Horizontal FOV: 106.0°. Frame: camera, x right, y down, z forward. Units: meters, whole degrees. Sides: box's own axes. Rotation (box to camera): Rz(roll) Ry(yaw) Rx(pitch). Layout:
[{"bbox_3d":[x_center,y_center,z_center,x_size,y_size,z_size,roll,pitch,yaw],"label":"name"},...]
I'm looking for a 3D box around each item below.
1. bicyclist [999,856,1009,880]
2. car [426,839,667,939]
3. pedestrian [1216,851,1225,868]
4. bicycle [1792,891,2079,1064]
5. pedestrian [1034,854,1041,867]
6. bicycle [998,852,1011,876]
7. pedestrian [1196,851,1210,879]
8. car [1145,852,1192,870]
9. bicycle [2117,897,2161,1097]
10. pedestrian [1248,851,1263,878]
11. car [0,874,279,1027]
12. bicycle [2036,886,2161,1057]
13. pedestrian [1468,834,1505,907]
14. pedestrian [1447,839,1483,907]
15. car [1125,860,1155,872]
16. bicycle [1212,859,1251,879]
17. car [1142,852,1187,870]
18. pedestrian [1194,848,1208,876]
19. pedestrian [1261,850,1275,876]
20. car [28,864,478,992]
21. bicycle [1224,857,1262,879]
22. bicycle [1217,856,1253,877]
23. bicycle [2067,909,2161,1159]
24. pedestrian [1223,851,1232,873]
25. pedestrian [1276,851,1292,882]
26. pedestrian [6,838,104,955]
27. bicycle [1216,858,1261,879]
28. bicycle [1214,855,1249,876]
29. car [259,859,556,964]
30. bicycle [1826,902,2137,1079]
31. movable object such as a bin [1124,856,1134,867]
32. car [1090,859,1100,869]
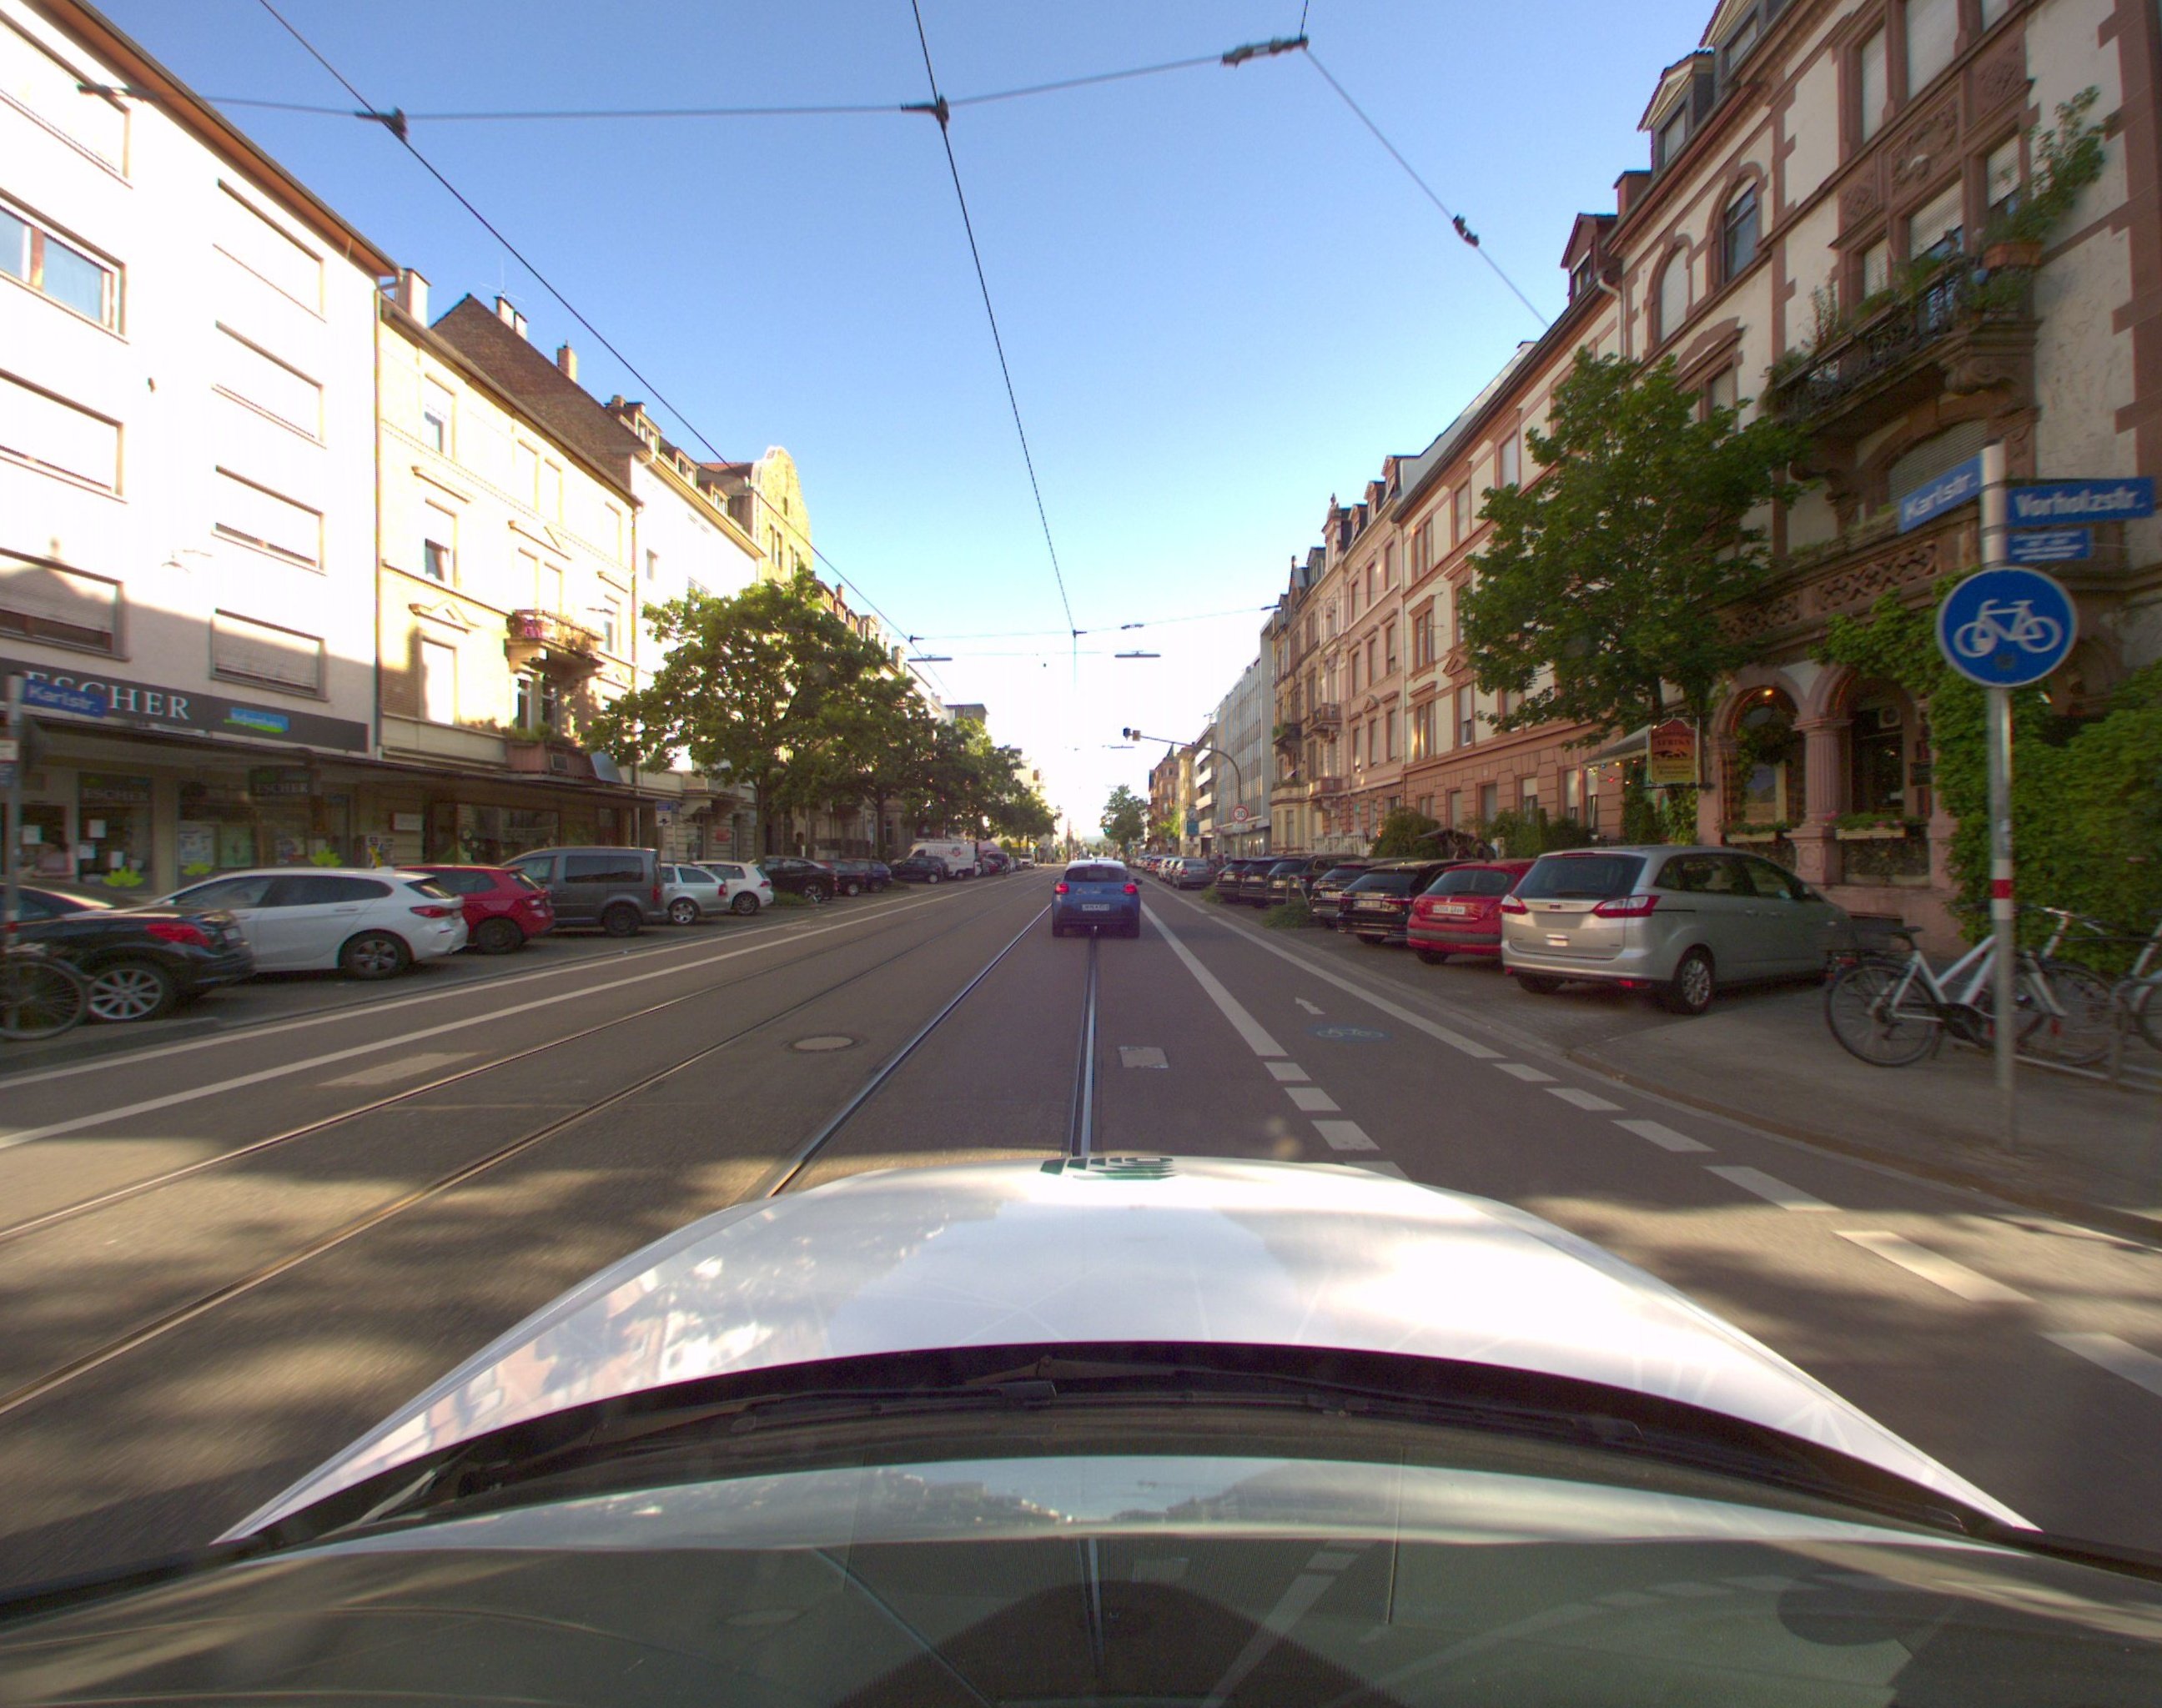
[{"bbox_3d":[-5.502,0.983,58.482,0.632,1.681,0.727,0,-1,1],"label":"bicyclist"},{"bbox_3d":[-10.533,0.654,16.354,3.835,1.785,1.779,1,-1,-31],"label":"car"},{"bbox_3d":[13.126,0.510,76.672,0.690,1.588,0.678,0,-1,1],"label":"pedestrian"},{"bbox_3d":[5.944,0.838,5.707,1.551,1.127,0.295,0,-1,7],"label":"bicycle"},{"bbox_3d":[-5.760,0.839,108.606,0.732,1.726,0.623,1,-1,-23],"label":"pedestrian"},{"bbox_3d":[-5.500,0.737,58.607,0.678,1.679,2.097,0,-1,2],"label":"bicycle"},{"bbox_3d":[7.100,0.655,47.361,0.709,1.607,0.654,0,-1,0],"label":"pedestrian"},{"bbox_3d":[7.874,0.639,73.395,3.743,1.652,2.027,1,-1,-32],"label":"car"},{"bbox_3d":[6.955,0.822,4.468,1.665,1.127,0.552,0,-1,7],"label":"bicycle"},{"bbox_3d":[10.722,0.654,50.097,0.709,1.607,0.654,-3,-1,0],"label":"pedestrian"},{"bbox_3d":[-10.400,0.885,7.868,3.483,1.337,1.608,1,-1,-33],"label":"car"},{"bbox_3d":[7.853,0.808,5.701,1.547,1.127,0.552,0,-1,7],"label":"bicycle"},{"bbox_3d":[10.064,0.397,20.251,0.516,1.778,0.864,0,-1,1],"label":"pedestrian"},{"bbox_3d":[9.476,0.470,20.126,0.516,1.649,0.864,0,-1,1],"label":"pedestrian"},{"bbox_3d":[7.874,1.582,108.464,3.664,1.534,1.778,1,-1,-18],"label":"car"},{"bbox_3d":[9.501,0.960,51.386,2.347,1.221,0.664,0,-1,4],"label":"bicycle"},{"bbox_3d":[7.262,0.602,70.588,3.463,1.555,1.806,1,-1,-31],"label":"car"},{"bbox_3d":[7.147,0.485,48.602,0.709,1.671,0.654,0,-1,0],"label":"pedestrian"},{"bbox_3d":[11.538,0.571,50.174,0.709,1.607,0.654,0,-1,0],"label":"pedestrian"},{"bbox_3d":[-10.415,0.843,10.718,3.804,1.400,1.737,1,-1,-32],"label":"car"},{"bbox_3d":[9.142,0.806,45.984,2.050,1.221,0.663,0,-1,-1],"label":"bicycle"},{"bbox_3d":[9.146,0.724,48.497,2.012,1.221,0.664,0,-1,0],"label":"bicycle"},{"bbox_3d":[5.681,0.847,3.837,1.392,1.127,0.551,0,-1,1],"label":"bicycle"},{"bbox_3d":[11.992,0.643,66.697,0.690,1.756,0.678,0,-1,1],"label":"pedestrian"},{"bbox_3d":[10.472,0.649,42.025,0.709,1.607,0.654,0,-1,0],"label":"pedestrian"},{"bbox_3d":[-14.907,0.601,11.850,0.567,1.652,0.641,0,-1,1],"label":"pedestrian"},{"bbox_3d":[9.189,0.843,47.540,2.530,1.221,0.664,0,-1,0],"label":"bicycle"},{"bbox_3d":[9.140,0.706,49.416,2.012,1.221,0.664,0,-1,0],"label":"bicycle"},{"bbox_3d":[-10.792,0.848,13.387,3.479,1.473,1.634,0,0,-28],"label":"car"},{"bbox_3d":[5.898,0.872,5.379,1.547,1.079,0.308,0,-1,7],"label":"bicycle"},{"bbox_3d":[6.941,1.071,118.136,1.389,1.483,1.656,0,-1,1],"label":"movable object such as a bin"},{"bbox_3d":[2.126,1.456,123.026,1.417,1.432,3.140,0,-1,2],"label":"car"}]
